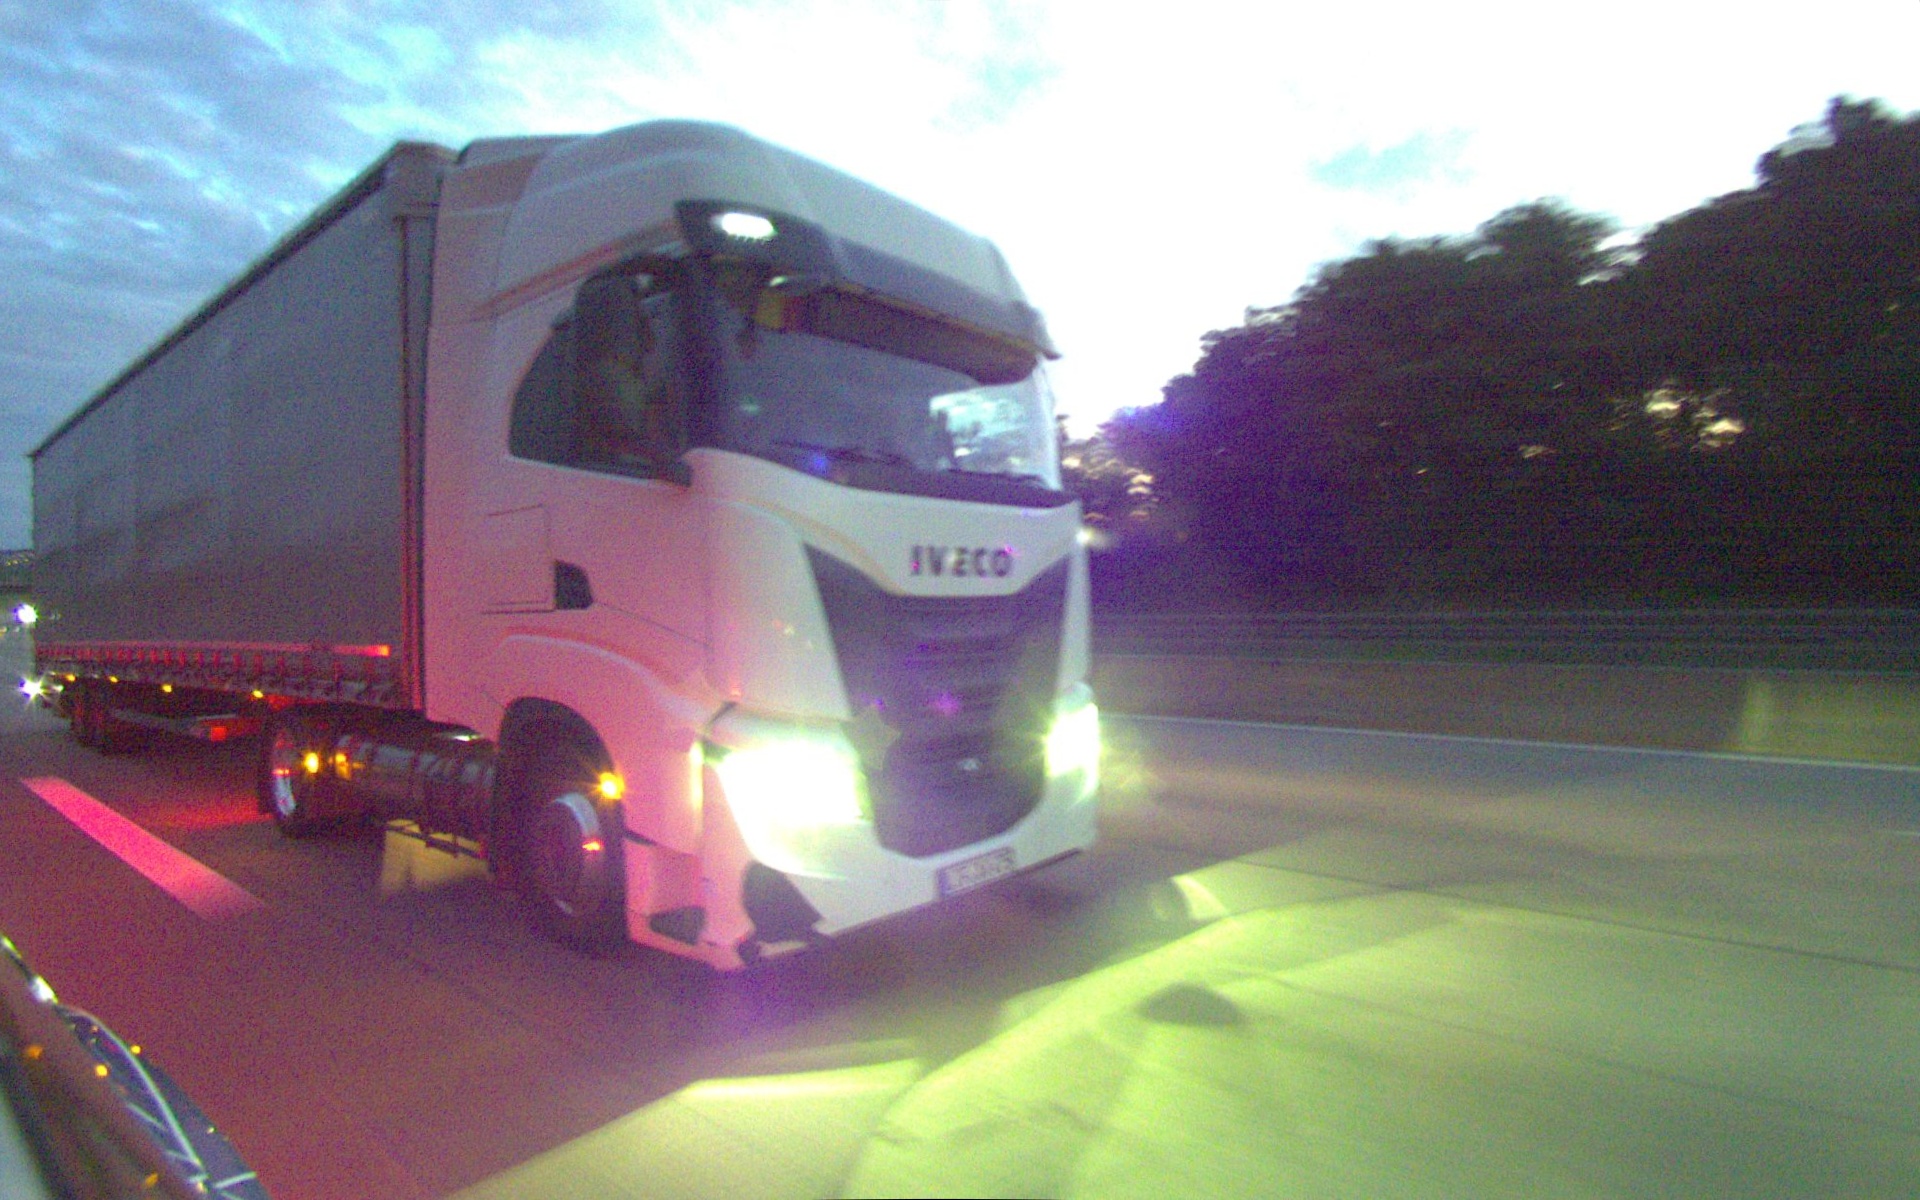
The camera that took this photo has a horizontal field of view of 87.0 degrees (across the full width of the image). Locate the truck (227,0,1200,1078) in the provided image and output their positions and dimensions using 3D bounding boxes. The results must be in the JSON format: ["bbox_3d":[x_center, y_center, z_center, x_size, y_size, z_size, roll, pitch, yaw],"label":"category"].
[{"bbox_3d":[-1.996,-0.421,6.231,6.150,3.931,2.750,-2,-1,41],"label":"truck"}]

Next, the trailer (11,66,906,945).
[{"bbox_3d":[-6.862,-0.283,10.431,14.810,3.945,2.745,-2,-1,41],"label":"trailer"}]
